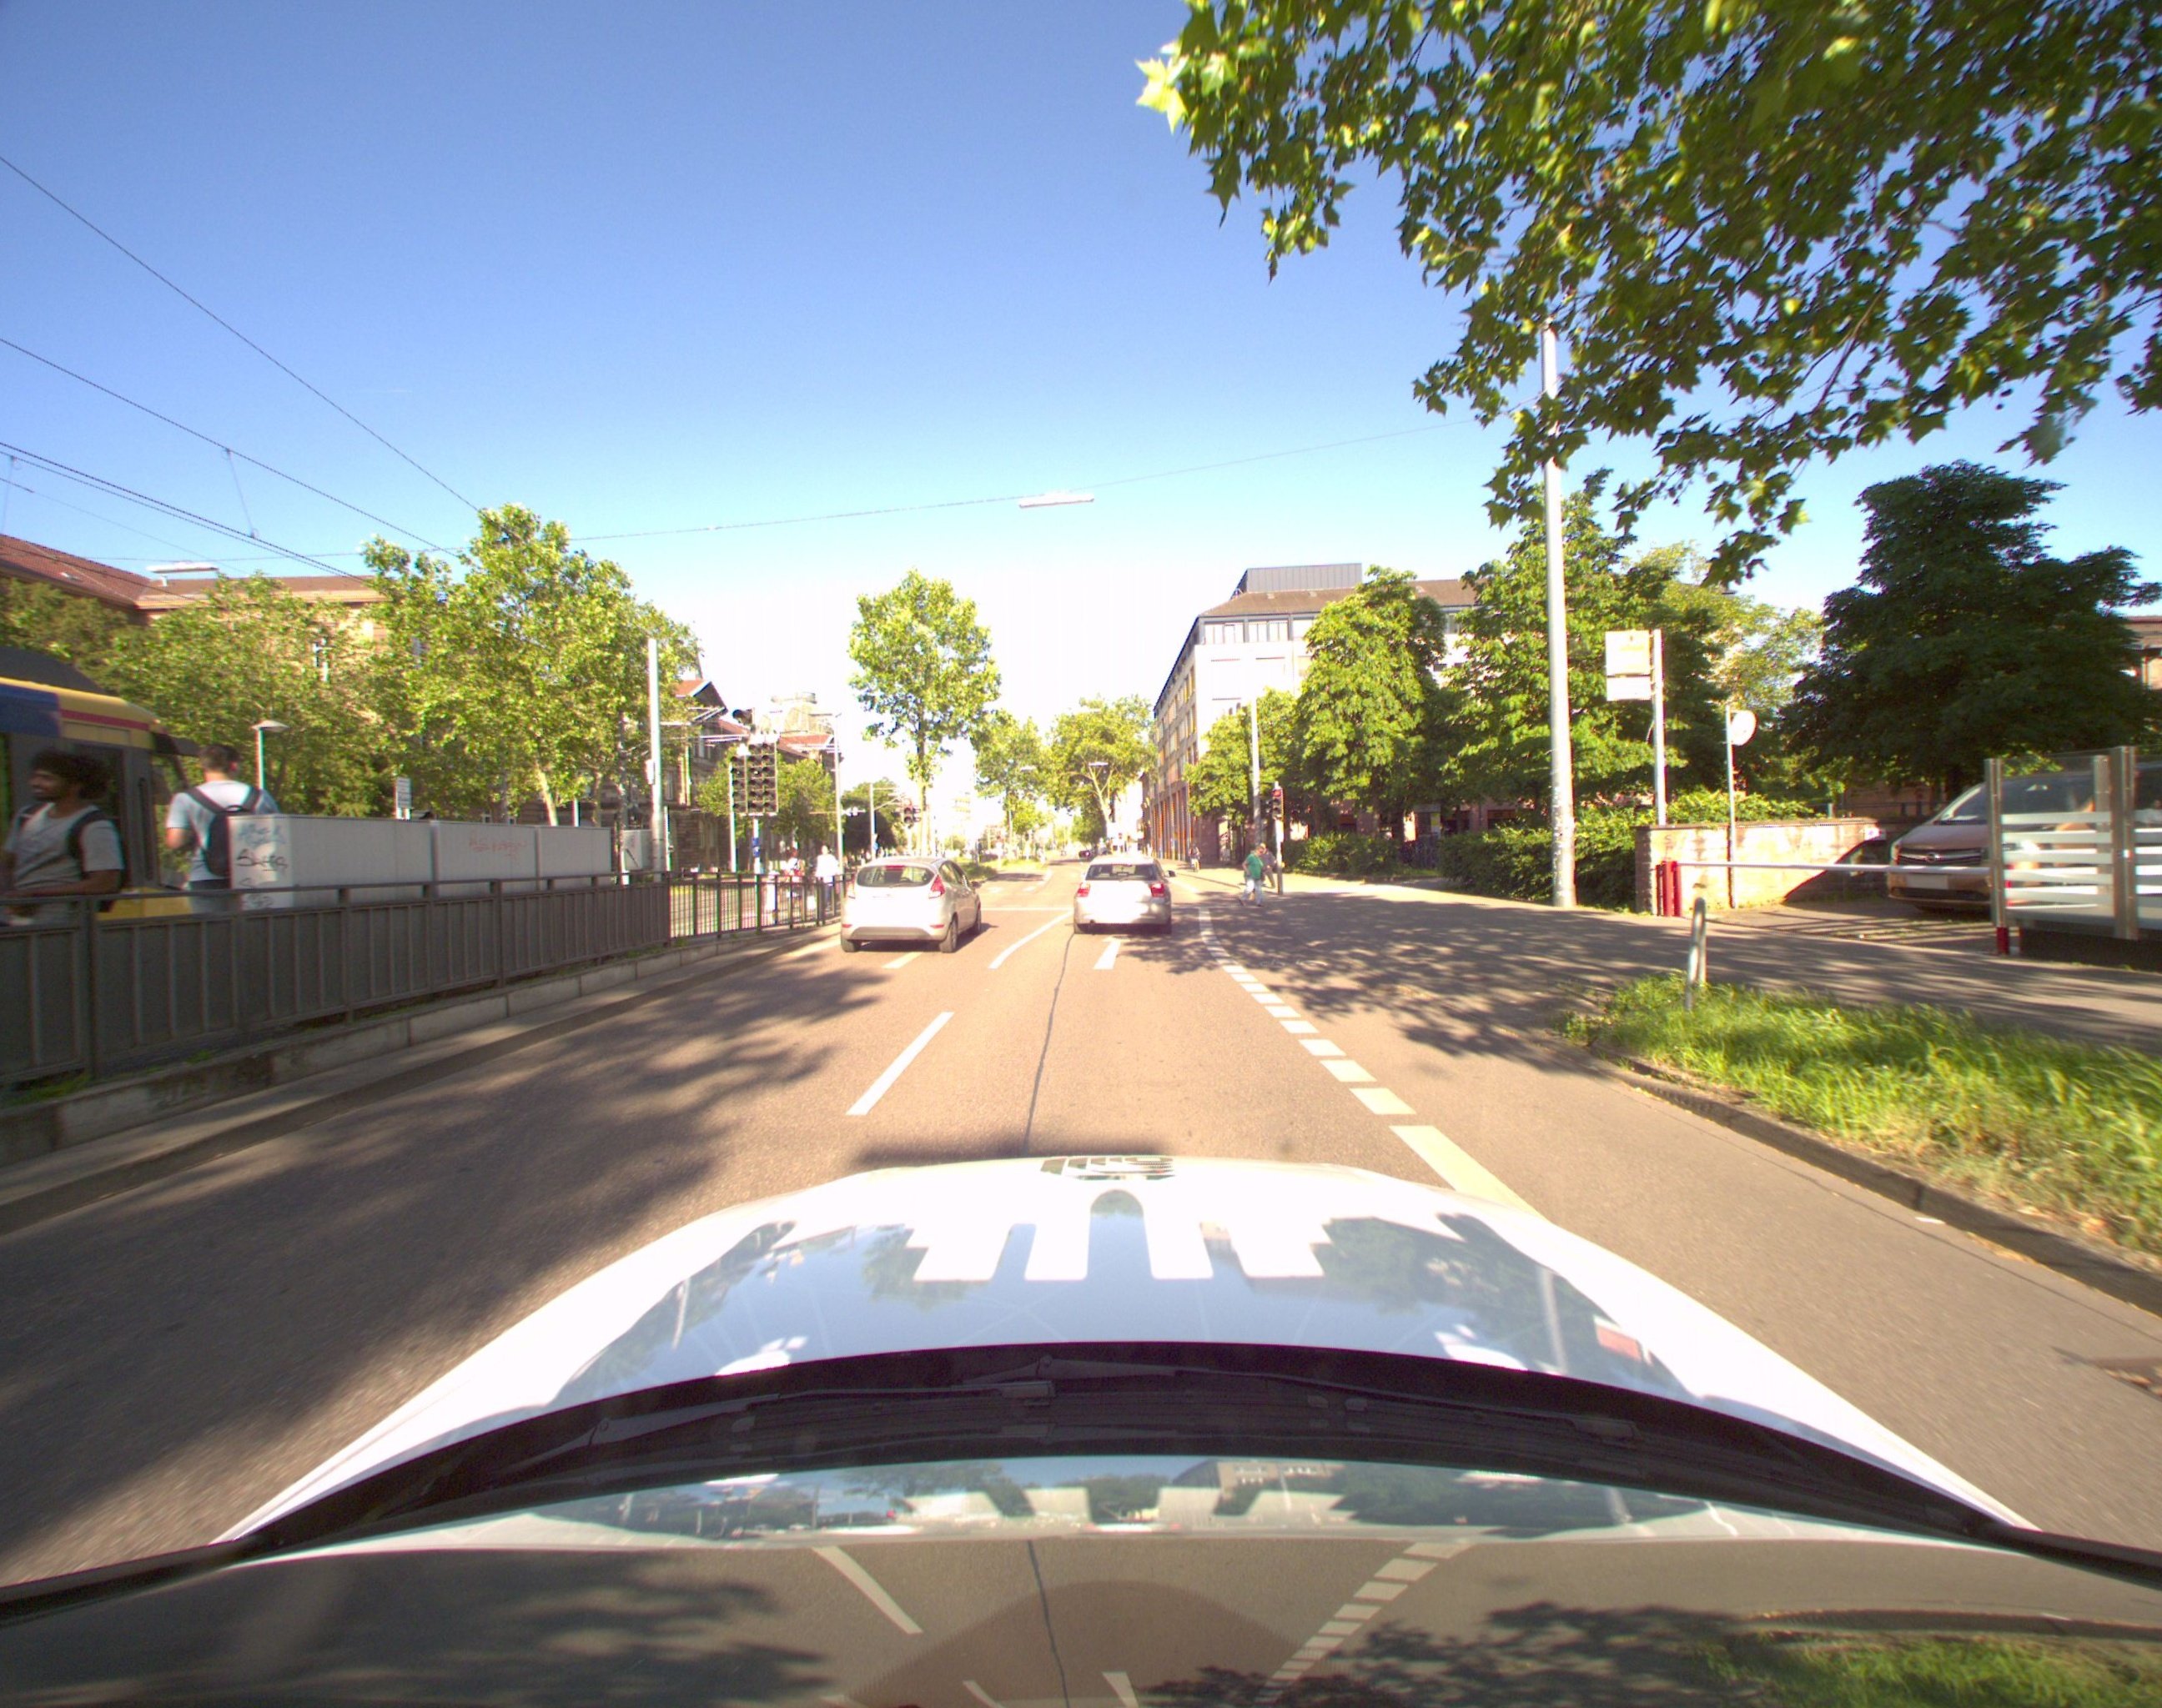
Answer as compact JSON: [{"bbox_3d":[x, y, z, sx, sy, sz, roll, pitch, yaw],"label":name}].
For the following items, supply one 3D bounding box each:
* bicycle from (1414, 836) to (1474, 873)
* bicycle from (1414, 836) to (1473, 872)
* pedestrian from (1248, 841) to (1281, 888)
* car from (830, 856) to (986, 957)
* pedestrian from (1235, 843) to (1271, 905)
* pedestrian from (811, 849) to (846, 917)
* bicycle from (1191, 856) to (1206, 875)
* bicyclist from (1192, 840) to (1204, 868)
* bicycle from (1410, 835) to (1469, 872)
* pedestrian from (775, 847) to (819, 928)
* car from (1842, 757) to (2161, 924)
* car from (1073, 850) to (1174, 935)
[{"bbox_3d":[14.135,0.007,31.722,1.988,1.314,0.574,-3,0,3],"label":"bicycle"},{"bbox_3d":[14.324,0.004,32.228,1.988,1.314,0.574,-3,0,3],"label":"bicycle"},{"bbox_3d":[6.459,0.369,28.631,0.944,1.629,0.624,-1,0,-23],"label":"pedestrian"},{"bbox_3d":[-2.674,0.755,13.375,1.654,1.409,3.633,-1,0,2],"label":"car"},{"bbox_3d":[4.470,0.506,21.232,0.825,1.575,0.740,-1,0,6],"label":"pedestrian"},{"bbox_3d":[-6.102,0.703,19.734,0.638,1.619,0.640,-2,-2,-3],"label":"pedestrian"},{"bbox_3d":[7.155,0.685,49.355,0.826,1.041,1.879,-2,0,9],"label":"bicycle"},{"bbox_3d":[7.110,-0.030,49.390,0.654,1.657,0.767,-2,0,9],"label":"bicyclist"},{"bbox_3d":[13.908,-0.006,31.630,1.988,1.314,0.574,-3,0,3],"label":"bicycle"},{"bbox_3d":[-5.617,0.646,16.147,0.629,1.557,0.646,-2,0,-4],"label":"pedestrian"},{"bbox_3d":[14.121,-0.273,11.483,4.881,1.984,1.913,-4,0,0],"label":"car"},{"bbox_3d":[0.888,0.655,15.922,1.722,1.390,3.845,0,1,5],"label":"car"}]
